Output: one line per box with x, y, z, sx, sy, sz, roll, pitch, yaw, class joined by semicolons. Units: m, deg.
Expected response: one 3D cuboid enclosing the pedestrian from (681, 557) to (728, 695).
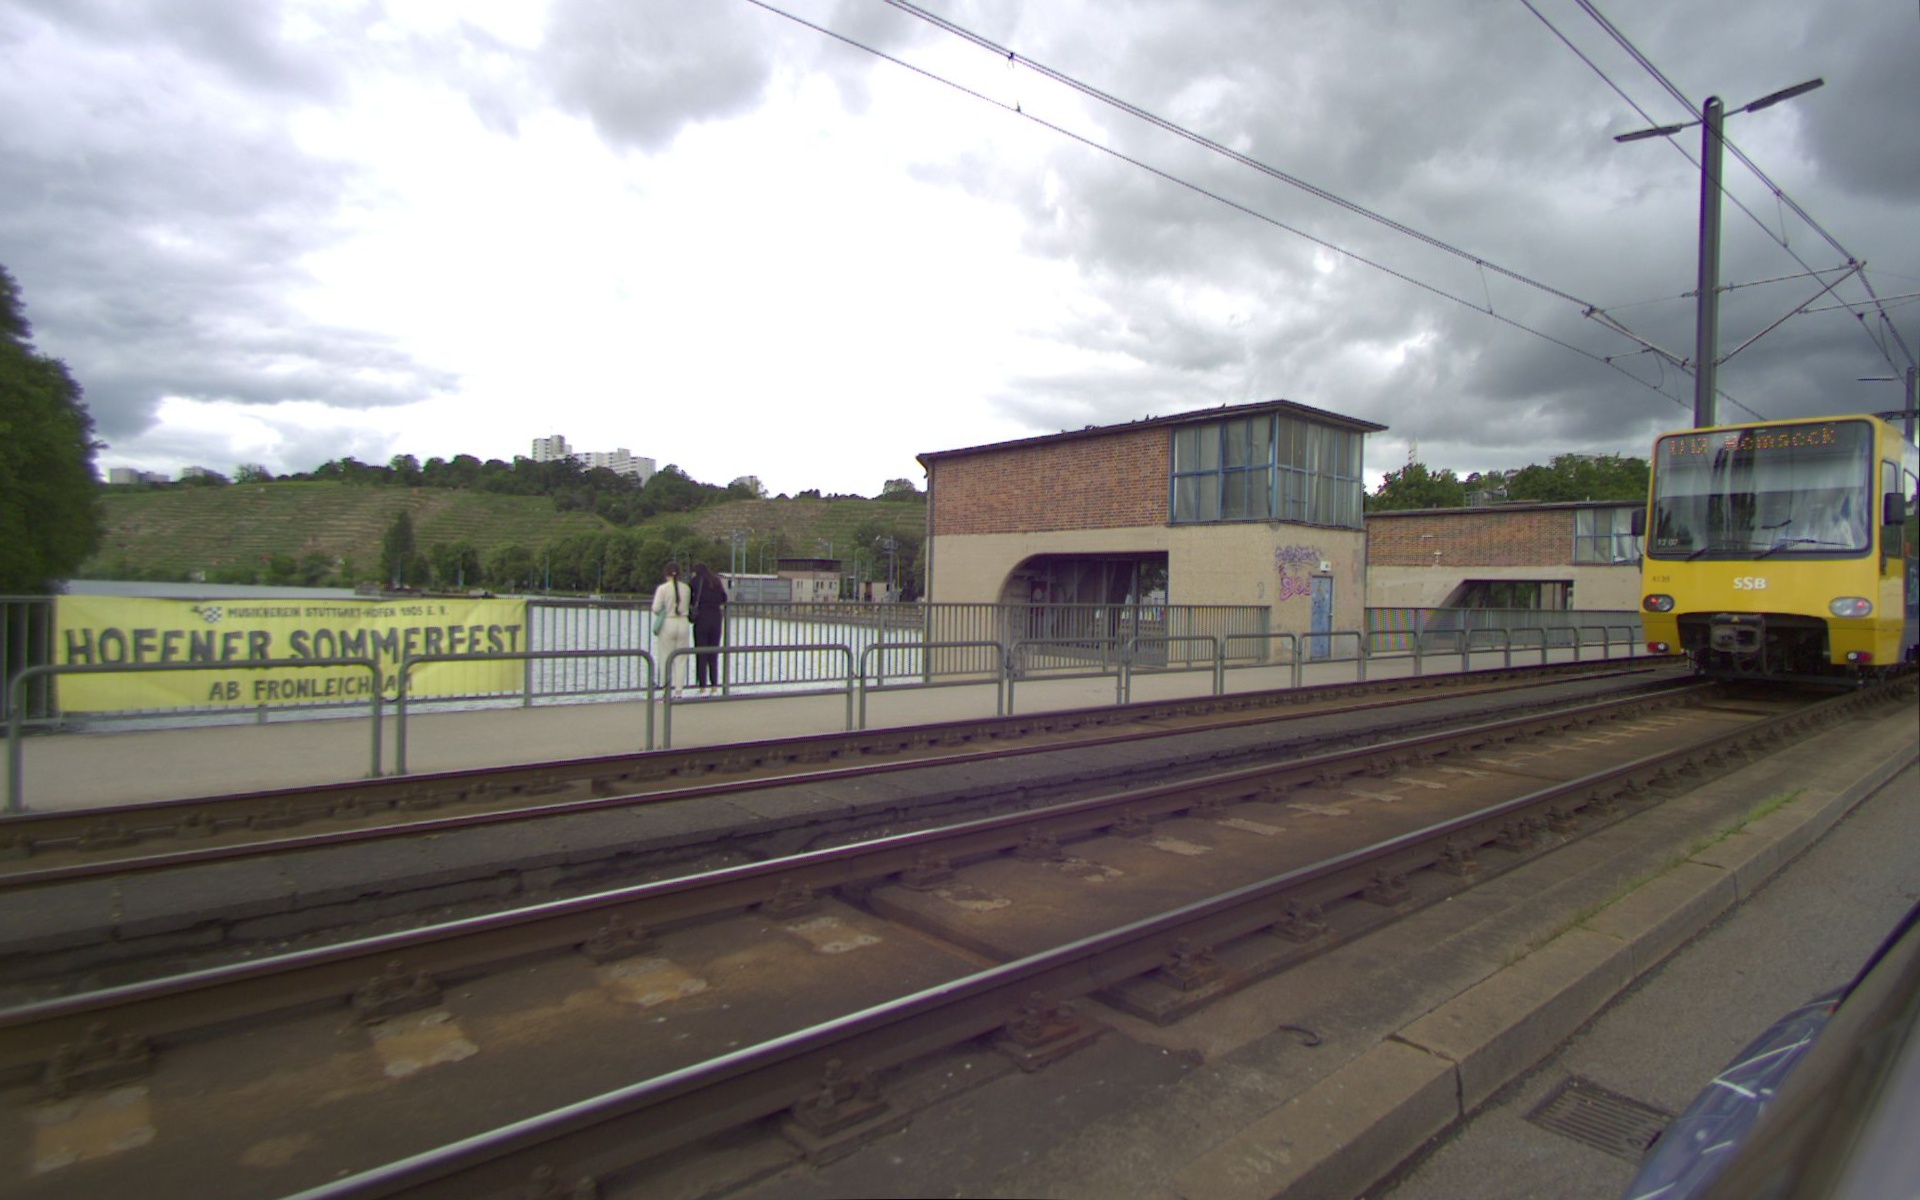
-3.157;0.322;12.477;0.450;1.668;0.332;2;2;-22;pedestrian

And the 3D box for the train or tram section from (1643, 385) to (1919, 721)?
17.321;-0.568;18.962;19.549;3.811;2.797;0;1;-42;train or tram section

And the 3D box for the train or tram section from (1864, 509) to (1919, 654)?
32.094;-0.443;31.948;19.545;3.700;2.791;0;3;-41;train or tram section

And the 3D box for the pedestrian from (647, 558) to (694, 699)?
-3.455;0.337;12.059;0.434;1.647;0.348;2;2;-22;pedestrian
